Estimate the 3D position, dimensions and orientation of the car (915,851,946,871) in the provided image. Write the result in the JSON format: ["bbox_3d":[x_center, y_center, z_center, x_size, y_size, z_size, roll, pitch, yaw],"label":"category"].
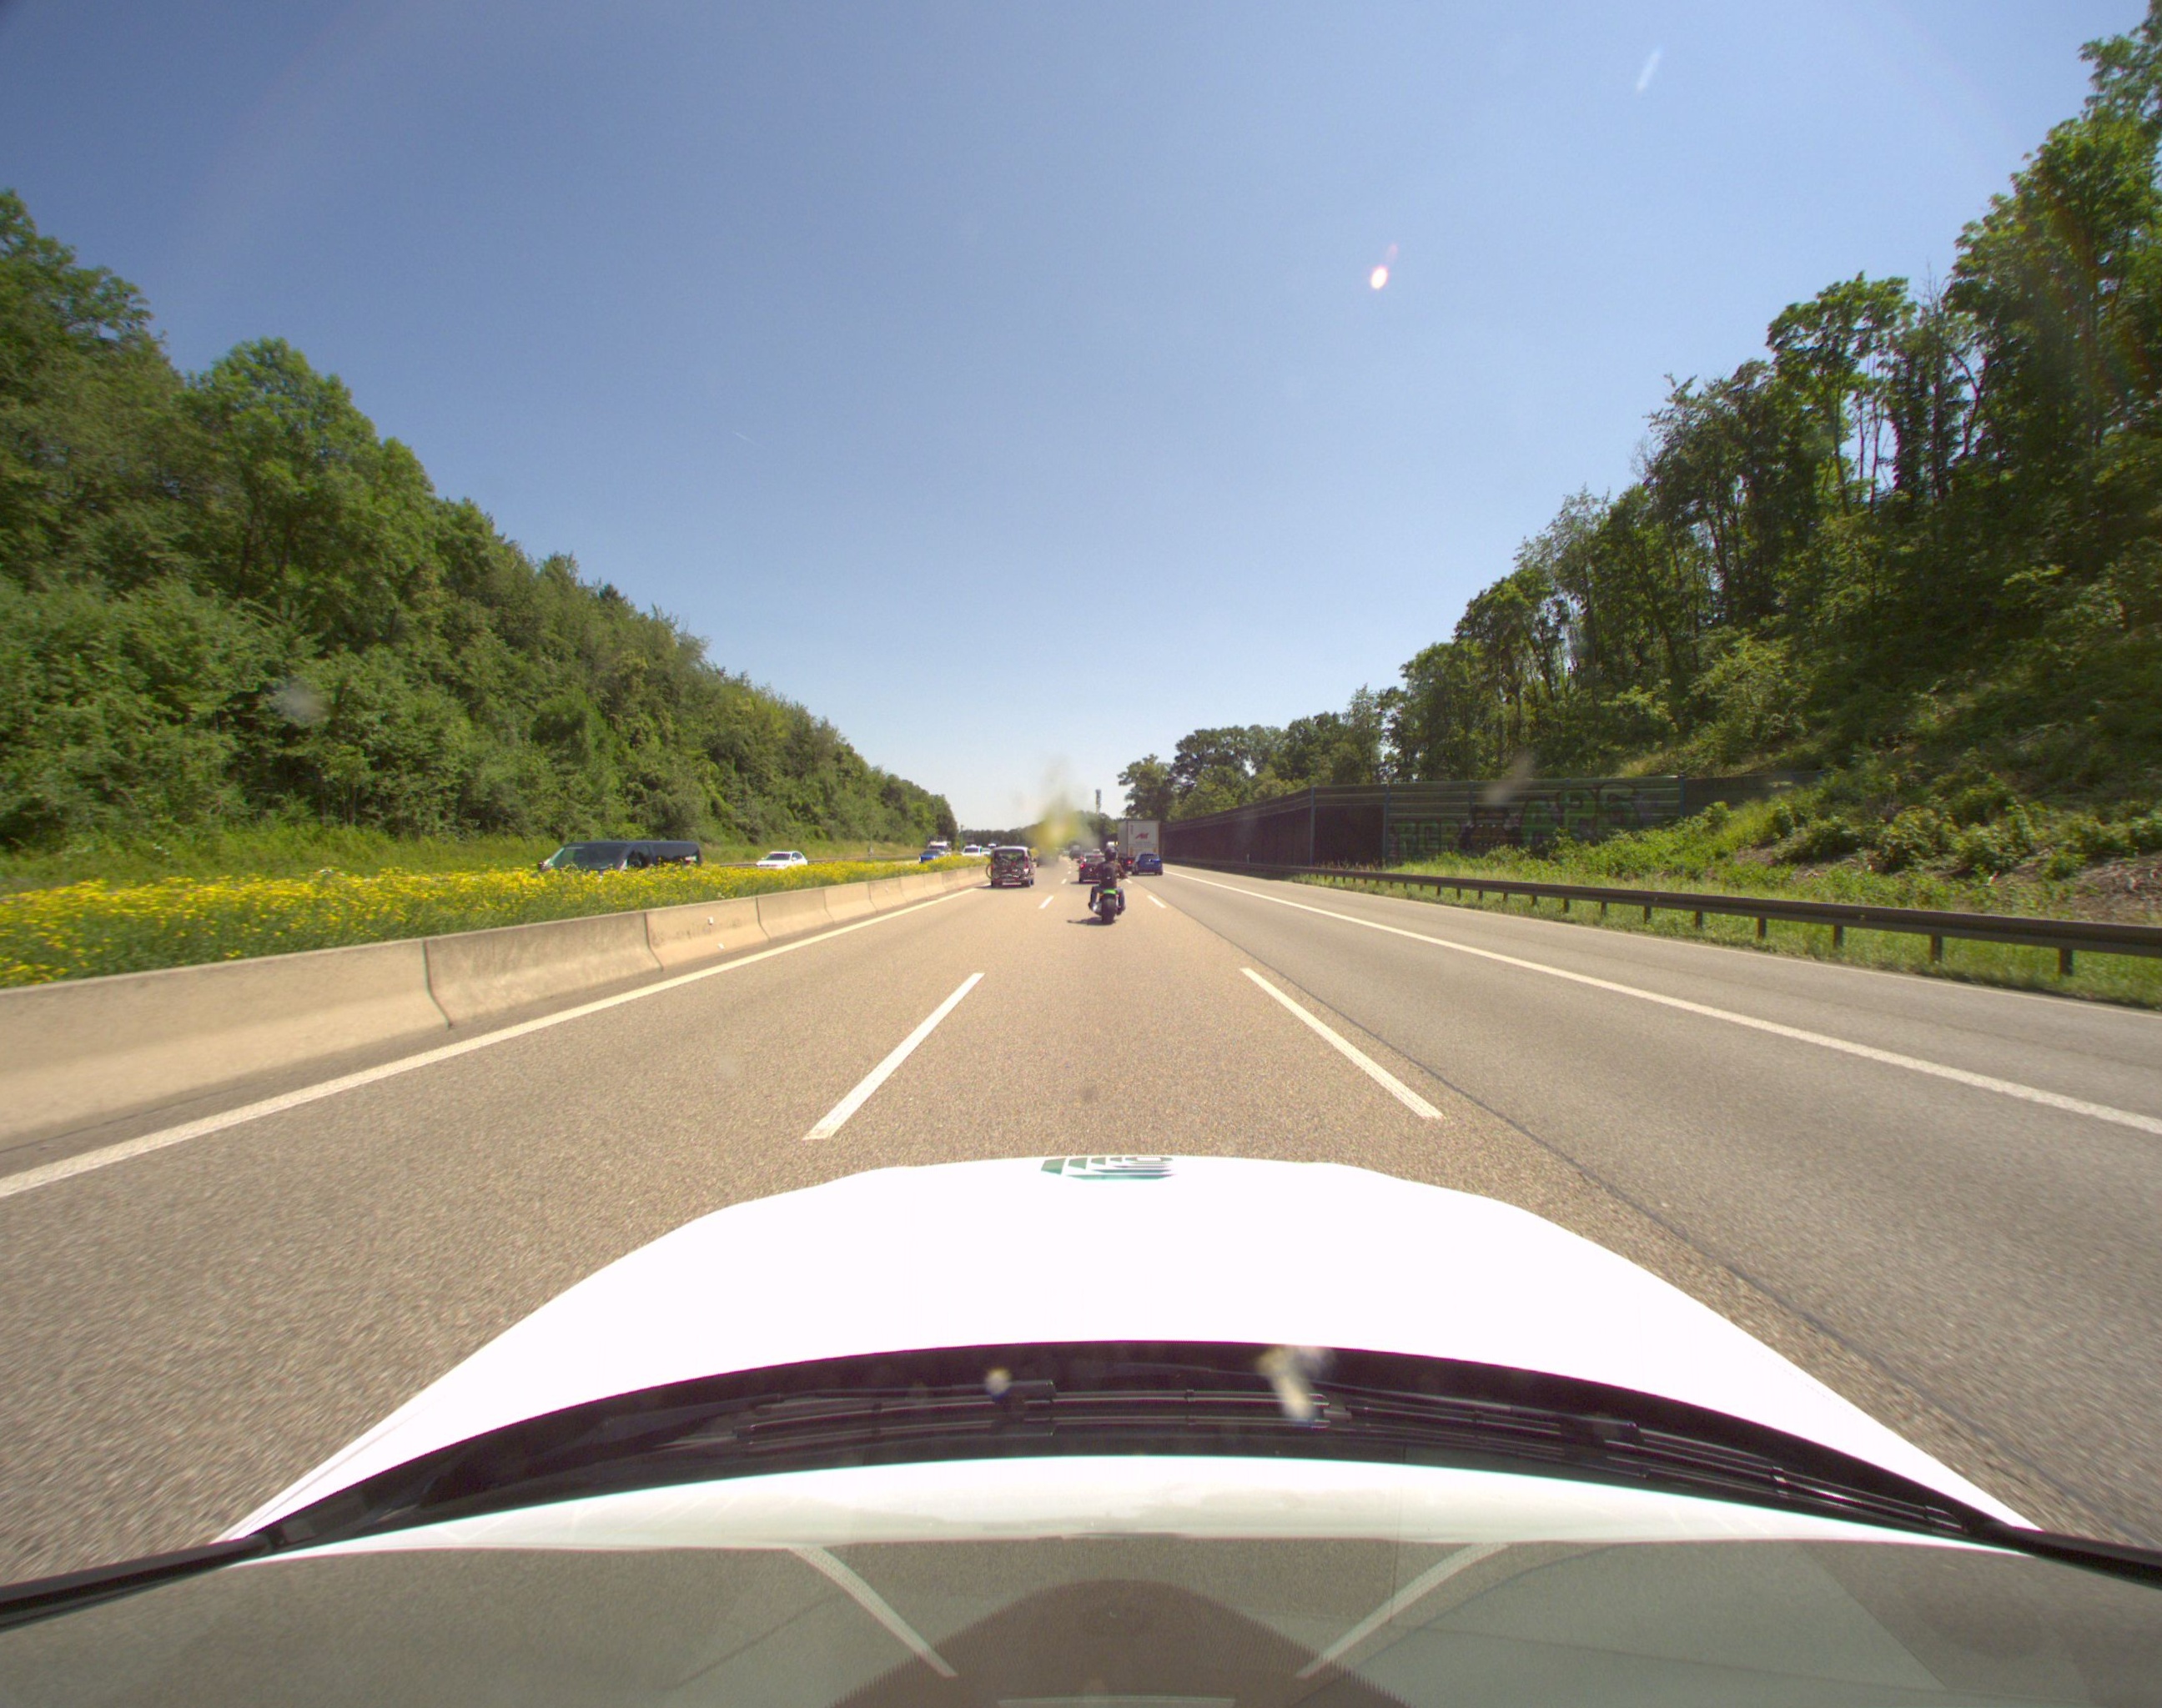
[{"bbox_3d":[-13.581,0.630,73.847,1.987,1.690,4.400,-1,-1,0],"label":"car"}]

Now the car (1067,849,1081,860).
[{"bbox_3d":[-1.087,0.077,122.042,1.986,1.640,4.000,-1,-1,1],"label":"car"}]

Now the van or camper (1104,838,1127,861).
[{"bbox_3d":[4.427,-0.584,105.533,2.676,2.813,6.802,-1,-1,0],"label":"van or camper"}]

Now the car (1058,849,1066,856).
[{"bbox_3d":[-4.527,-0.318,196.358,1.827,1.496,3.741,-1,-1,-1],"label":"car"}]

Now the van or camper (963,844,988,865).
[{"bbox_3d":[-10.310,0.053,79.802,1.877,2.014,4.586,-1,-1,0],"label":"van or camper"}]

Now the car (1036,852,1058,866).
[{"bbox_3d":[-3.372,0.511,81.212,1.987,1.387,3.999,-1,-1,0],"label":"car"}]

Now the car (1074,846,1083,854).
[{"bbox_3d":[-0.565,-0.992,206.361,2.103,1.876,3.995,-1,-1,-3],"label":"car"}]

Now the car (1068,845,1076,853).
[{"bbox_3d":[-2.378,-1.261,211.913,2.103,1.876,3.995,-1,-1,-3],"label":"car"}]

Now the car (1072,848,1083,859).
[{"bbox_3d":[-0.589,-0.046,147.863,1.907,2.014,3.687,-1,-1,-2],"label":"car"}]

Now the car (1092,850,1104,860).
[{"bbox_3d":[2.987,0.199,145.335,1.988,1.574,3.998,-1,-1,-1],"label":"car"}]

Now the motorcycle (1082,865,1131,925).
[{"bbox_3d":[0.614,0.853,17.963,0.960,1.148,2.815,0,0,4],"label":"motorcycle"}]

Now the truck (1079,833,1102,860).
[{"bbox_3d":[1.866,-1.432,160.391,3.795,4.960,8.938,-1,-1,-4],"label":"truck"}]

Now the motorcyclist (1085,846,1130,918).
[{"bbox_3d":[0.603,0.586,17.769,0.895,1.475,1.874,-1,-1,4],"label":"motorcyclist"}]

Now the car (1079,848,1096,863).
[{"bbox_3d":[0.705,0.147,88.182,1.773,1.552,3.585,-1,-1,1],"label":"car"}]

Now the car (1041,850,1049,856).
[{"bbox_3d":[-8.779,-0.273,197.596,1.827,1.496,3.741,-1,-1,-1],"label":"car"}]

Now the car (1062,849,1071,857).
[{"bbox_3d":[-2.931,-0.251,170.134,1.827,1.496,3.741,-1,-1,-1],"label":"car"}]

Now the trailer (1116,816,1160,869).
[{"bbox_3d":[4.687,-0.931,69.572,2.876,4.038,13.795,-1,0,0],"label":"trailer"}]

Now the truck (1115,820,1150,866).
[{"bbox_3d":[4.746,-0.988,76.410,2.876,4.146,5.986,-1,0,0],"label":"truck"}]

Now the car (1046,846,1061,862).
[{"bbox_3d":[-3.531,0.001,105.109,1.786,2.014,3.641,-1,-1,-1],"label":"car"}]

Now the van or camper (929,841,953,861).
[{"bbox_3d":[-18.889,-0.323,110.087,2.180,2.560,6.926,-1,-1,-2],"label":"van or camper"}]

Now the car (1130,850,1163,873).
[{"bbox_3d":[4.258,0.500,53.490,1.646,1.483,4.477,-1,-1,-2],"label":"car"}]

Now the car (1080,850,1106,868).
[{"bbox_3d":[0.935,0.414,66.276,1.988,1.430,3.845,-1,-1,-1],"label":"car"}]

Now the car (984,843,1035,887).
[{"bbox_3d":[-3.196,0.513,37.169,1.893,1.873,4.412,-1,-1,0],"label":"car"}]

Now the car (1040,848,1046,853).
[{"bbox_3d":[-11.329,-0.942,244.658,1.828,1.496,3.738,-1,-1,-3],"label":"car"}]

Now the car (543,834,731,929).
[{"bbox_3d":[-10.480,0.616,19.671,1.986,2.014,4.422,-1,-1,2],"label":"car"}]

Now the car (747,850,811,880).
[{"bbox_3d":[-17.360,0.578,47.054,1.987,1.616,4.483,-1,0,0],"label":"car"}]

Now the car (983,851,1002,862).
[{"bbox_3d":[-11.627,0.334,107.153,1.801,1.486,3.858,0,0,2],"label":"car"}]

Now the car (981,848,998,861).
[{"bbox_3d":[-14.804,0.041,131.661,1.986,2.014,4.570,-1,-1,2],"label":"car"}]

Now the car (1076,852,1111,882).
[{"bbox_3d":[0.588,0.654,41.012,1.657,1.453,3.868,-1,-1,0],"label":"car"}]
